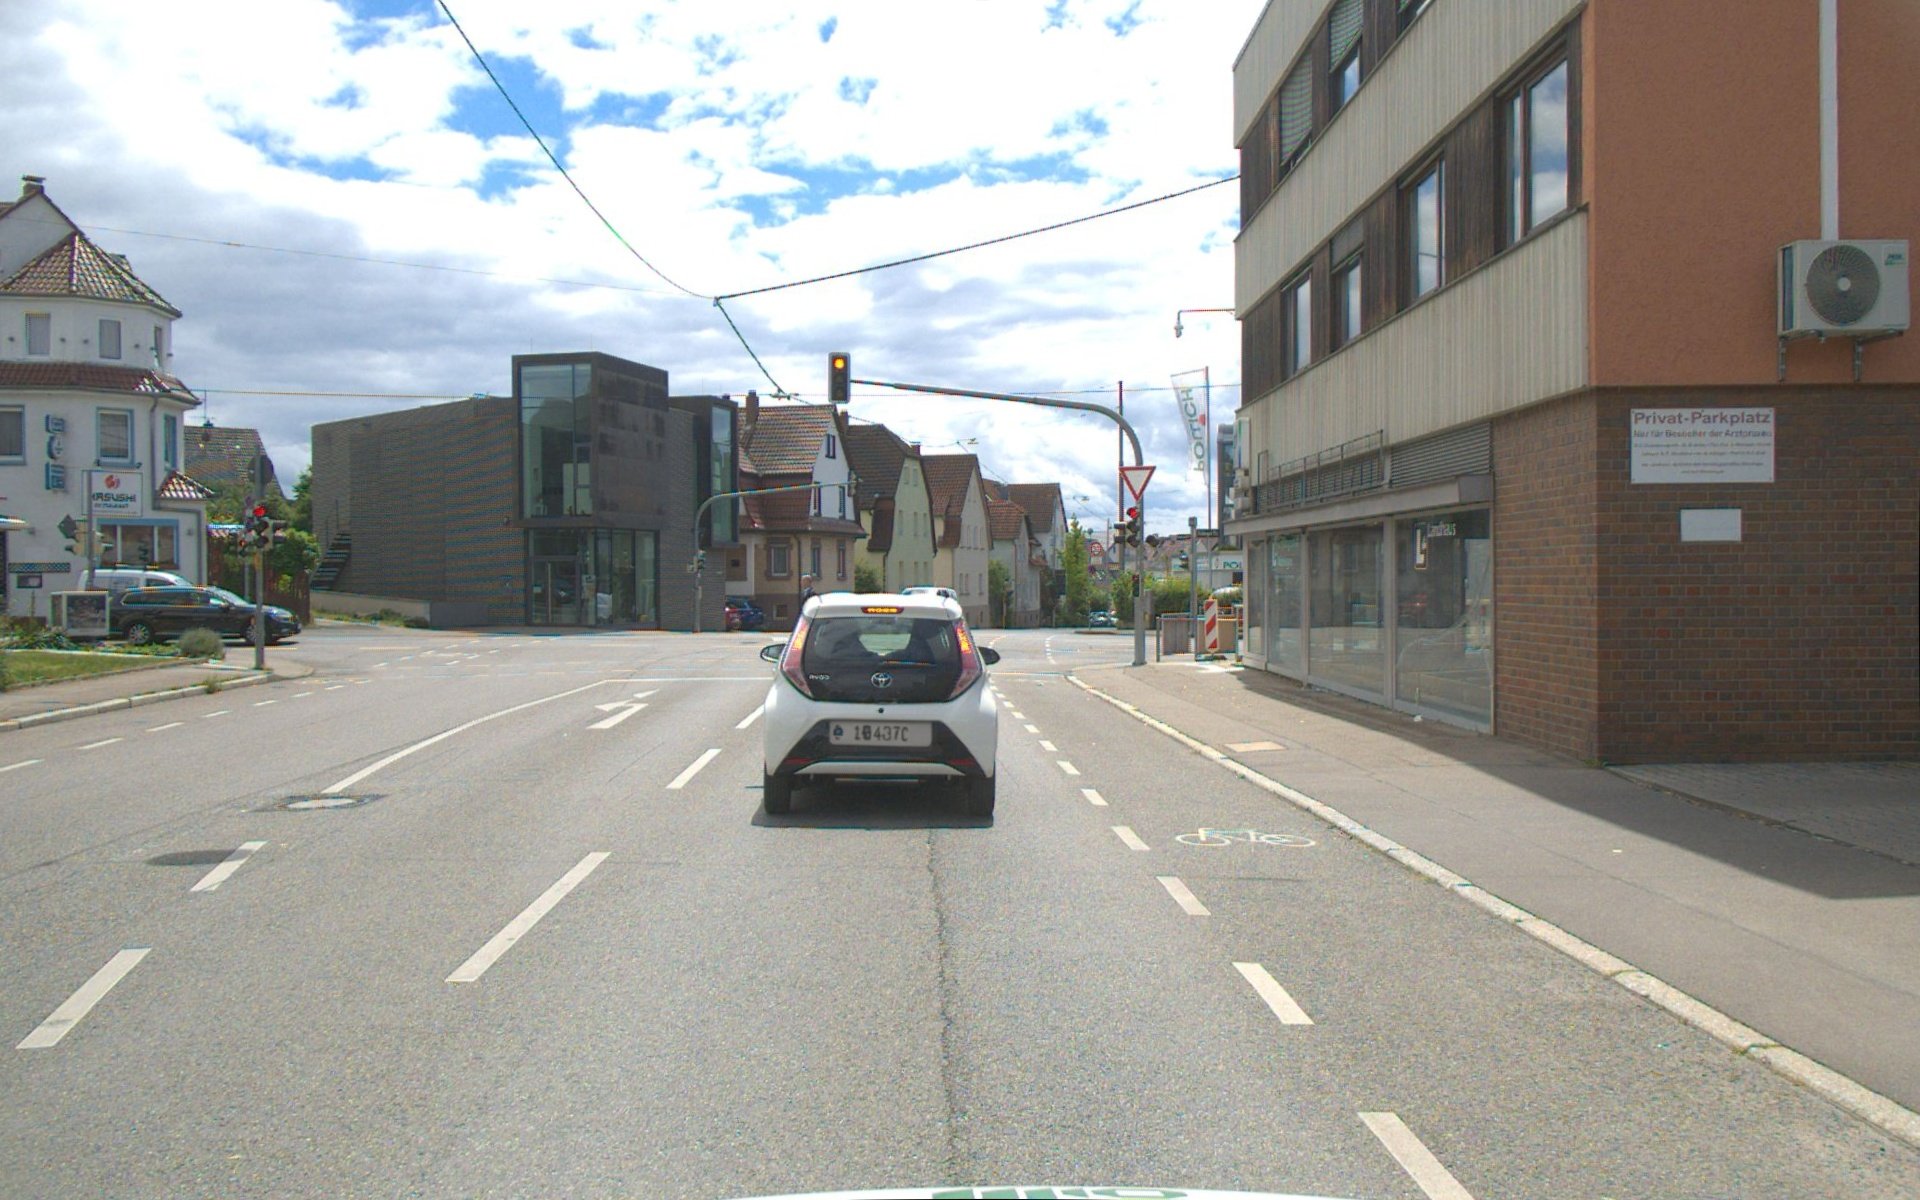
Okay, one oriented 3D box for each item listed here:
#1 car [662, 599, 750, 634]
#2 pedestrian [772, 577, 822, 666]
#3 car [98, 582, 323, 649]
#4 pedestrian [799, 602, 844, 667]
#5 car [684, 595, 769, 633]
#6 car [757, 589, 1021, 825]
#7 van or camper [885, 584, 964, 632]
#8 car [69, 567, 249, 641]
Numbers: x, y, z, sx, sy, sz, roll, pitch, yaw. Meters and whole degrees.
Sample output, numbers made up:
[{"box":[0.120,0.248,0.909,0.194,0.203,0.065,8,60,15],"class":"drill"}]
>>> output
[{"box":[-11.420,0.734,74.555,3.537,1.444,1.693,1,0,10],"class":"car"},{"box":[-3.255,0.424,33.033,0.810,1.751,0.812,0,0,-21],"class":"pedestrian"},{"box":[-19.013,0.394,42.153,4.806,1.605,1.996,1,0,-9],"class":"car"},{"box":[-2.716,0.664,32.443,0.723,1.243,0.642,0,0,-22],"class":"pedestrian"},{"box":[-10.874,0.651,77.032,3.537,1.633,1.693,1,0,10],"class":"car"},{"box":[-0.533,0.688,12.251,1.663,1.482,3.297,1,0,-3],"class":"car"},{"box":[-1.487,0.343,71.608,2.070,1.959,5.289,1,0,14],"class":"van or camper"},{"box":[-21.650,0.104,44.869,3.989,1.881,1.994,1,0,-13],"class":"car"}]
